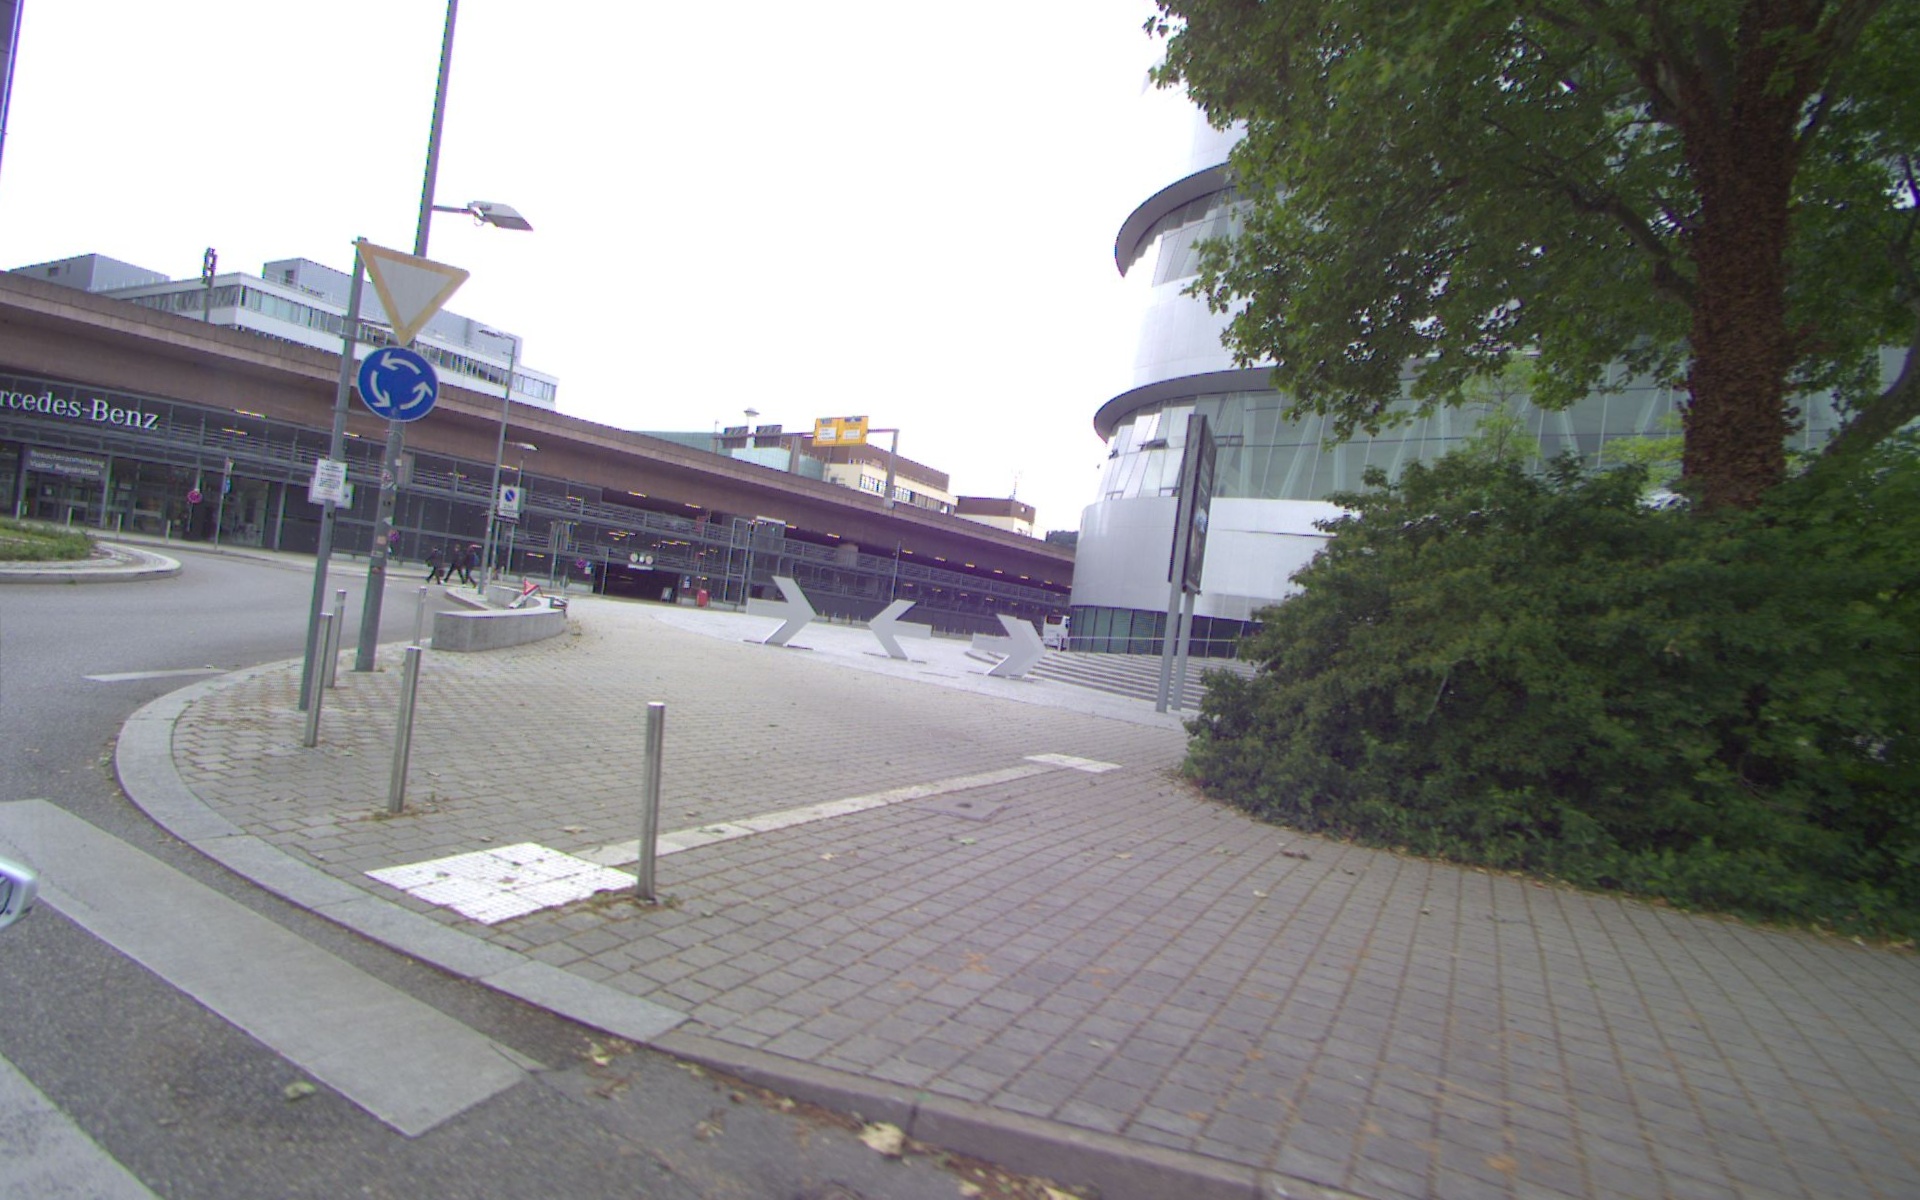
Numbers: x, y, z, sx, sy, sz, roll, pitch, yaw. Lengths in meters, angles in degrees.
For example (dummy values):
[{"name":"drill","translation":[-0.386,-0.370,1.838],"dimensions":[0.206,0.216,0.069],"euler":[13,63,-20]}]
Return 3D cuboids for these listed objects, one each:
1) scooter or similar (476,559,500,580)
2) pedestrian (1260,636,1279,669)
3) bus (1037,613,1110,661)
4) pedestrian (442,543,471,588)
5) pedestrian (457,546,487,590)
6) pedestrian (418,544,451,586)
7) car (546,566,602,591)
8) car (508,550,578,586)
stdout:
[{"name":"scooter or similar","translation":[-30.623,-1.958,65.312],"dimensions":[0.351,1.208,1.229],"euler":[7,-2,42]},{"name":"pedestrian","translation":[18.164,3.056,59.015],"dimensions":[0.702,1.843,0.624],"euler":[7,-1,4]},{"name":"bus","translation":[12.046,4.007,105.684],"dimensions":[2.713,3.979,11.069],"euler":[7,-2,32]},{"name":"pedestrian","translation":[-21.267,-1.457,42.498],"dimensions":[0.826,1.761,0.683],"euler":[8,-1,-36]},{"name":"pedestrian","translation":[-21.046,-1.380,43.385],"dimensions":[0.828,1.761,0.683],"euler":[8,-1,-40]},{"name":"pedestrian","translation":[-21.652,-1.453,41.449],"dimensions":[0.680,1.588,0.831],"euler":[7,-1,38]},{"name":"car","translation":[-33.571,-1.849,87.631],"dimensions":[1.973,1.592,3.981],"euler":[7,-2,43]},{"name":"car","translation":[-29.342,-2.244,70.833],"dimensions":[1.973,1.926,3.981],"euler":[7,-2,43]}]
